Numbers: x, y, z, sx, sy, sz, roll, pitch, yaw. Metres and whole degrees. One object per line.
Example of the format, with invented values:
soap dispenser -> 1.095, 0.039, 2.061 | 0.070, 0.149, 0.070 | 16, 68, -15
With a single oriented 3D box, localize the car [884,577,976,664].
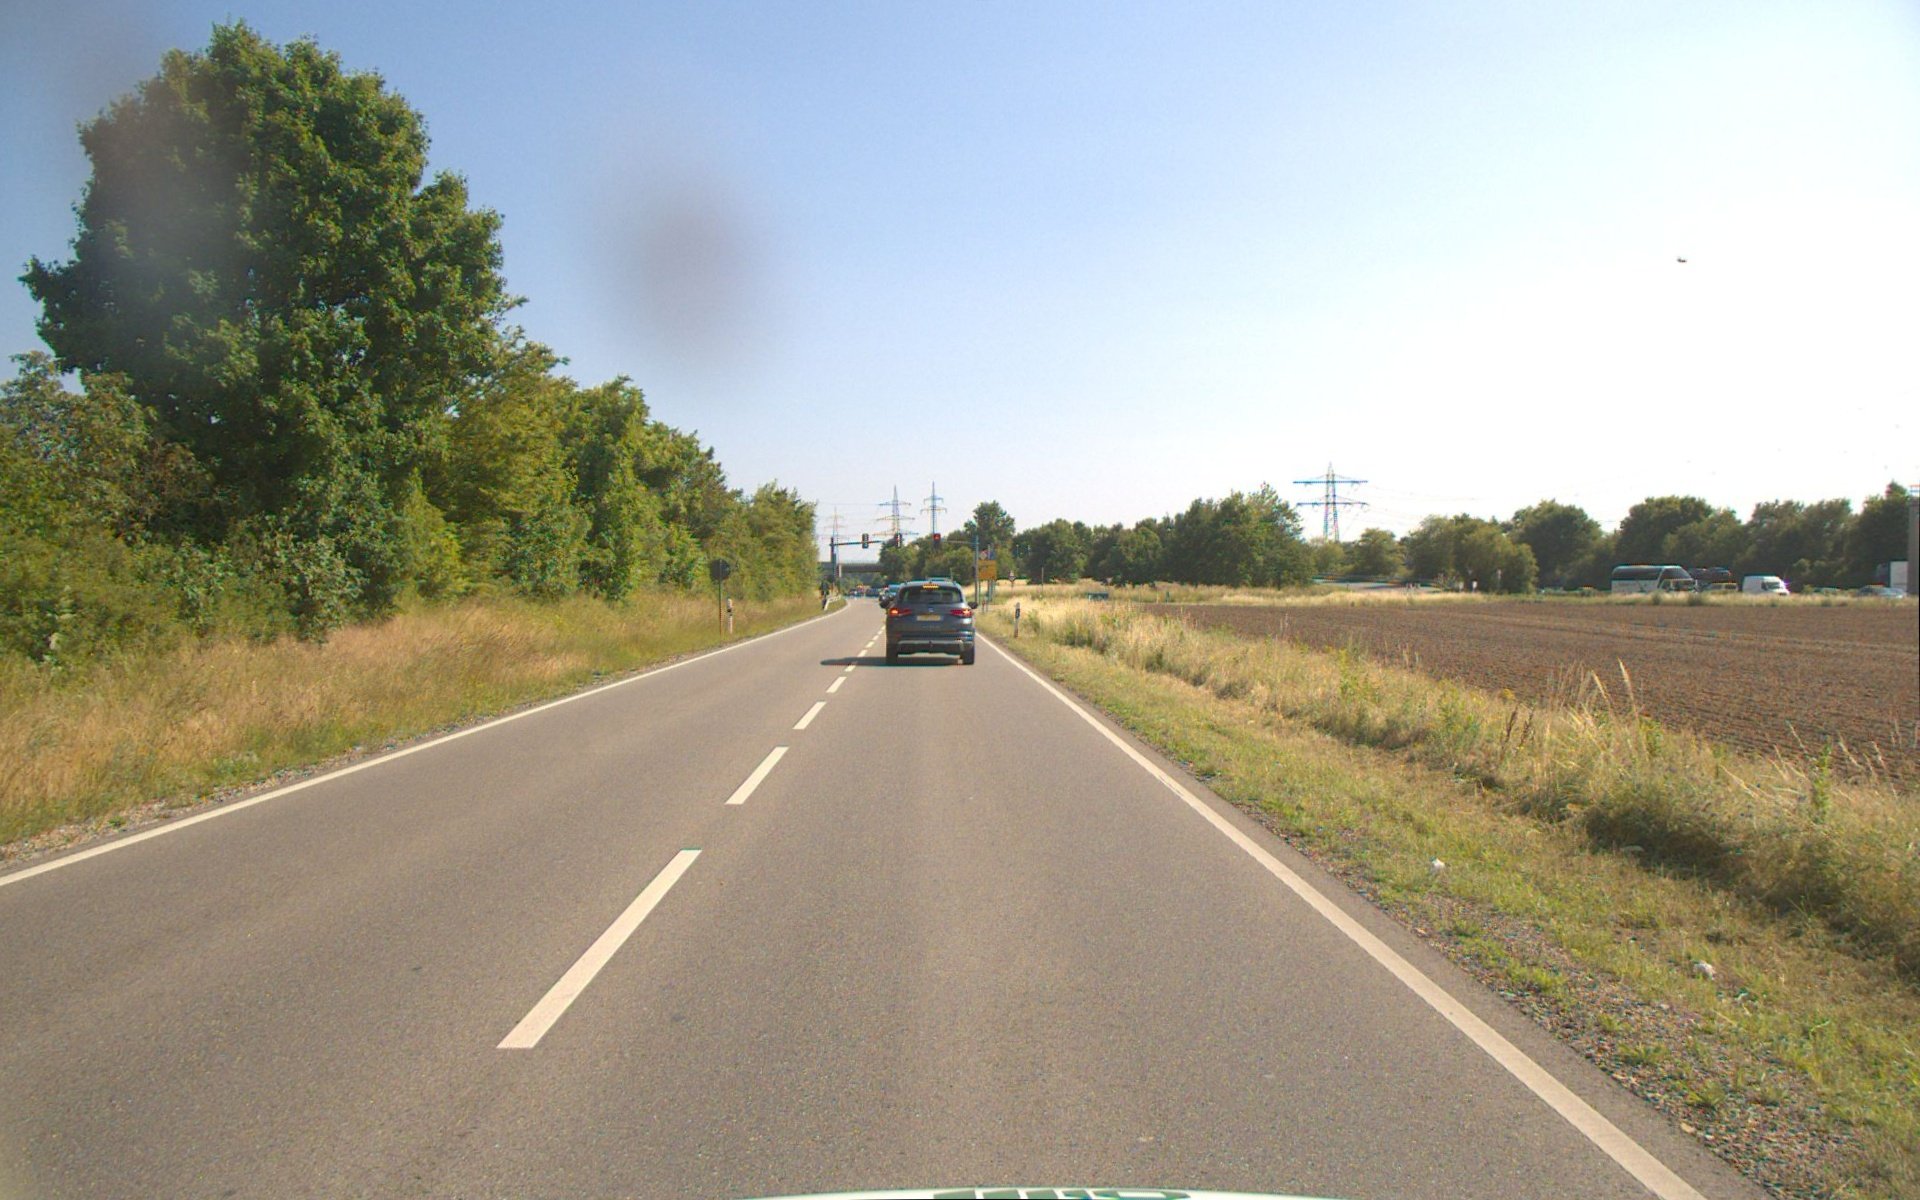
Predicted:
car -> -0.622, 0.361, 33.516 | 1.749, 1.657, 3.999 | 0, 1, -2

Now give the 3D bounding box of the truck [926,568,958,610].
truck -> -1.343, -0.801, 123.977 | 2.290, 3.120, 5.808 | 0, 0, -1

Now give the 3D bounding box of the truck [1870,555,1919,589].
truck -> 94.763, -2.760, 165.518 | 3.218, 3.324, 6.975 | -1, 0, -3

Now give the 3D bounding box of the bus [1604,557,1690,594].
bus -> 74.772, -2.697, 180.490 | 2.414, 3.870, 14.537 | 0, 1, -4

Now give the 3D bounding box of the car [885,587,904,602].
car -> -6.803, -0.563, 172.110 | 1.781, 1.567, 3.996 | 0, 1, -5

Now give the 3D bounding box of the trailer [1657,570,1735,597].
trailer -> 91.916, -2.103, 206.828 | 3.218, 3.324, 13.447 | 0, 1, -3

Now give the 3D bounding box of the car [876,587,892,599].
car -> -8.856, -0.797, 192.144 | 1.651, 1.404, 3.530 | 0, 1, -5

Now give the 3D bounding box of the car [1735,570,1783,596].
car -> 79.211, -1.671, 164.135 | 1.953, 2.413, 5.520 | 1, 0, -2

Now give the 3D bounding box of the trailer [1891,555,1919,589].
trailer -> 95.062, -2.734, 159.420 | 3.218, 3.324, 12.450 | -1, 0, -3
